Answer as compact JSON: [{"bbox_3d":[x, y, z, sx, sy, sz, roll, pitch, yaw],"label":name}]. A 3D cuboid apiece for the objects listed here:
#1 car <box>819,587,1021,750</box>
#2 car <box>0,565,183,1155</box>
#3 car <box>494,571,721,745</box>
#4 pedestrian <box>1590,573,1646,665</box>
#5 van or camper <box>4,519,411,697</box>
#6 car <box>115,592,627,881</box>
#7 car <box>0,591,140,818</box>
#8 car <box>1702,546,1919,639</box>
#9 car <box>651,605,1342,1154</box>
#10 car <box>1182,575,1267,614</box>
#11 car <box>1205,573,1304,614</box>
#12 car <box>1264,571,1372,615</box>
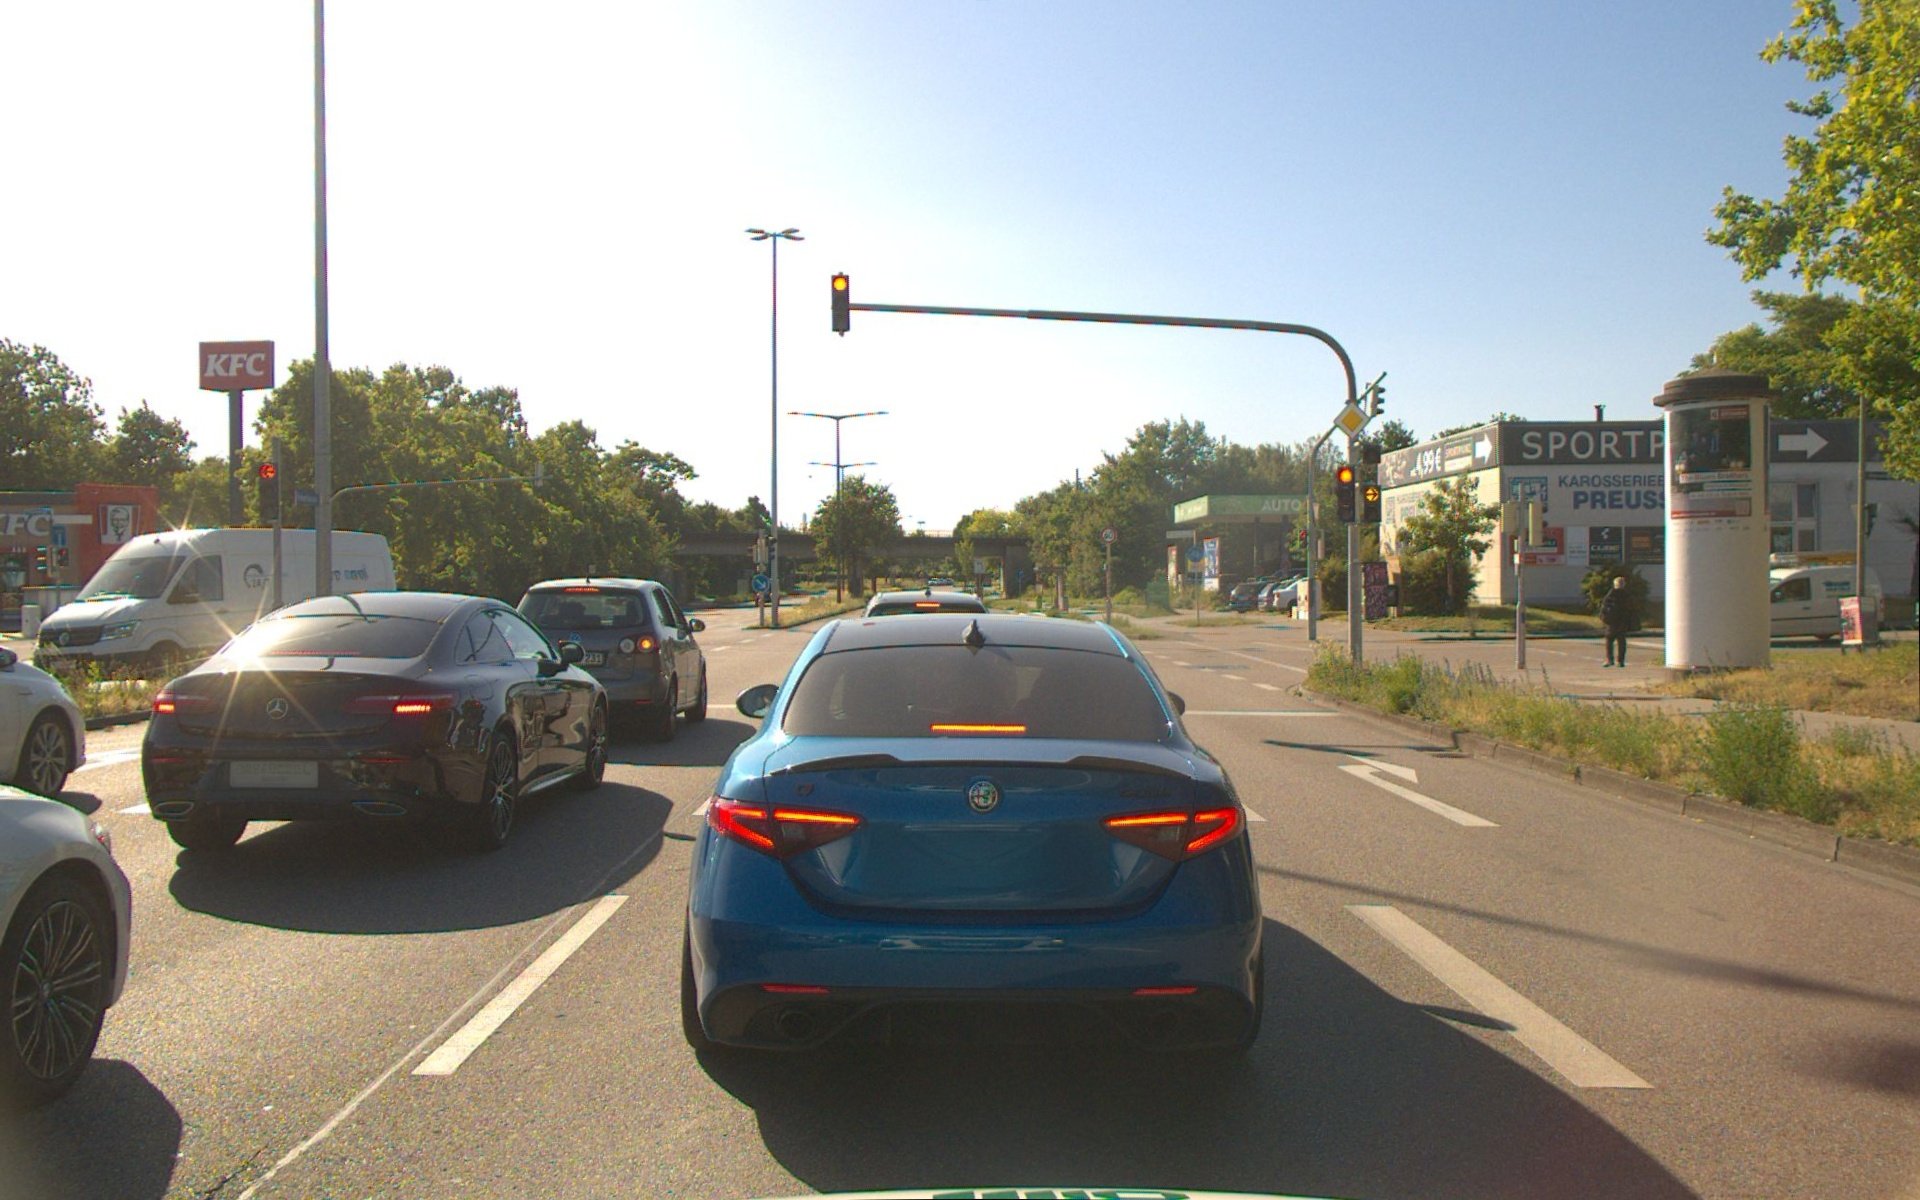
[{"bbox_3d":[-0.393,0.612,17.054,1.828,1.475,3.931,0,0,-1],"label":"car"},{"bbox_3d":[-3.348,0.687,3.096,1.732,1.535,4.460,0,0,-1],"label":"car"},{"bbox_3d":[-3.593,0.528,17.505,1.615,1.626,3.931,0,0,-1],"label":"car"},{"bbox_3d":[12.736,0.357,32.050,0.805,1.752,0.854,0,0,6],"label":"pedestrian"},{"bbox_3d":[-12.283,0.090,27.772,2.133,2.617,6.756,0,0,19],"label":"van or camper"},{"bbox_3d":[-3.414,0.674,10.569,1.732,1.439,4.460,0,0,-1],"label":"car"},{"bbox_3d":[-7.064,0.676,10.246,1.819,1.454,4.403,0,0,-1],"label":"car"},{"bbox_3d":[20.601,-0.189,40.159,4.318,2.183,1.998,0,0,-4],"label":"car"},{"bbox_3d":[0.073,0.751,6.358,1.828,1.409,3.931,0,0,-1],"label":"car"},{"bbox_3d":[11.875,-0.260,74.331,3.428,1.736,1.688,0,0,-17],"label":"car"},{"bbox_3d":[12.670,-0.266,71.153,3.928,1.736,1.686,0,0,-20],"label":"car"},{"bbox_3d":[14.343,-0.277,66.323,3.923,1.736,1.687,0,0,-17],"label":"car"}]
